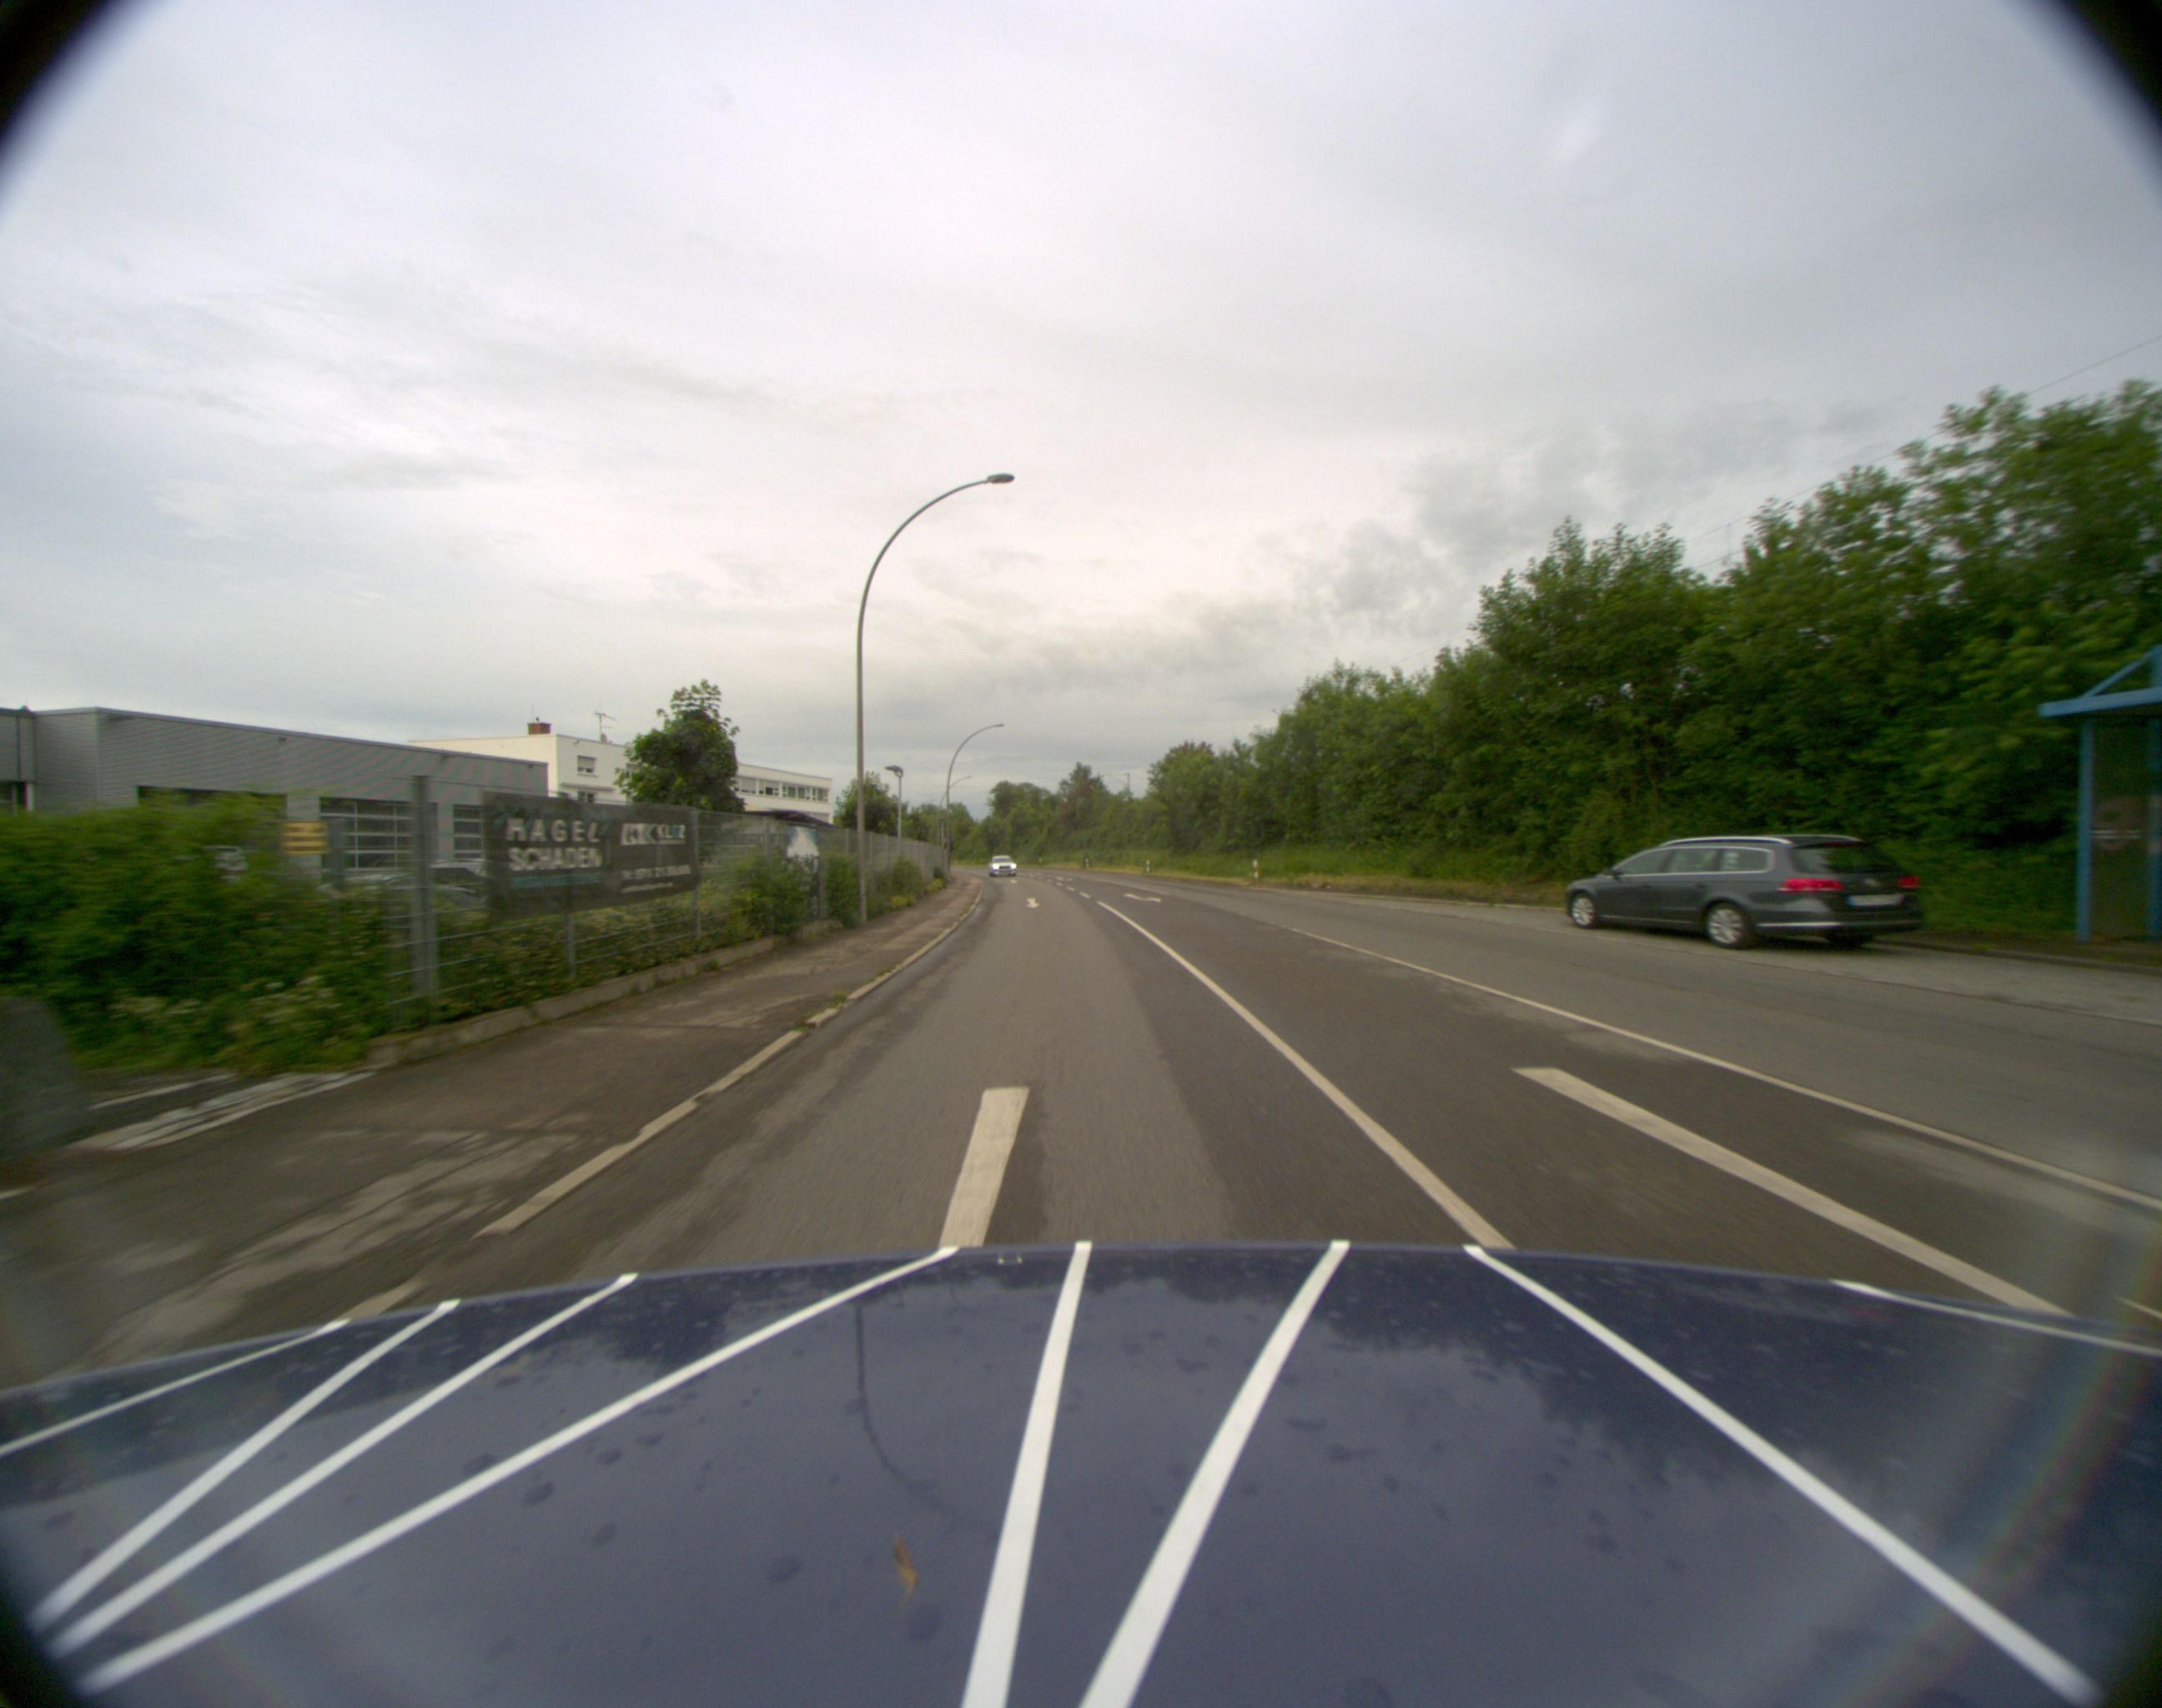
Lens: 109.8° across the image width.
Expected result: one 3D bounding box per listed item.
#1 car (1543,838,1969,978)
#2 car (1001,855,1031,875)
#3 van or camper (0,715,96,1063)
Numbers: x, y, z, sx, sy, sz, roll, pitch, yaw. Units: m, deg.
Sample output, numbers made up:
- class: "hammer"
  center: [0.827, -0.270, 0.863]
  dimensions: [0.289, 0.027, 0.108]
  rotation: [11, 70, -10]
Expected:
- class: "car"
  center: [9.270, 0.581, 11.159]
  dimensions: [1.999, 1.466, 4.698]
  rotation: [-3, 2, -1]
- class: "car"
  center: [-5.380, 0.867, 62.398]
  dimensions: [1.850, 1.565, 3.822]
  rotation: [-1, 0, -14]
- class: "van or camper"
  center: [-9.335, 0.278, 2.937]
  dimensions: [2.045, 2.578, 6.593]
  rotation: [-1, 0, 7]
